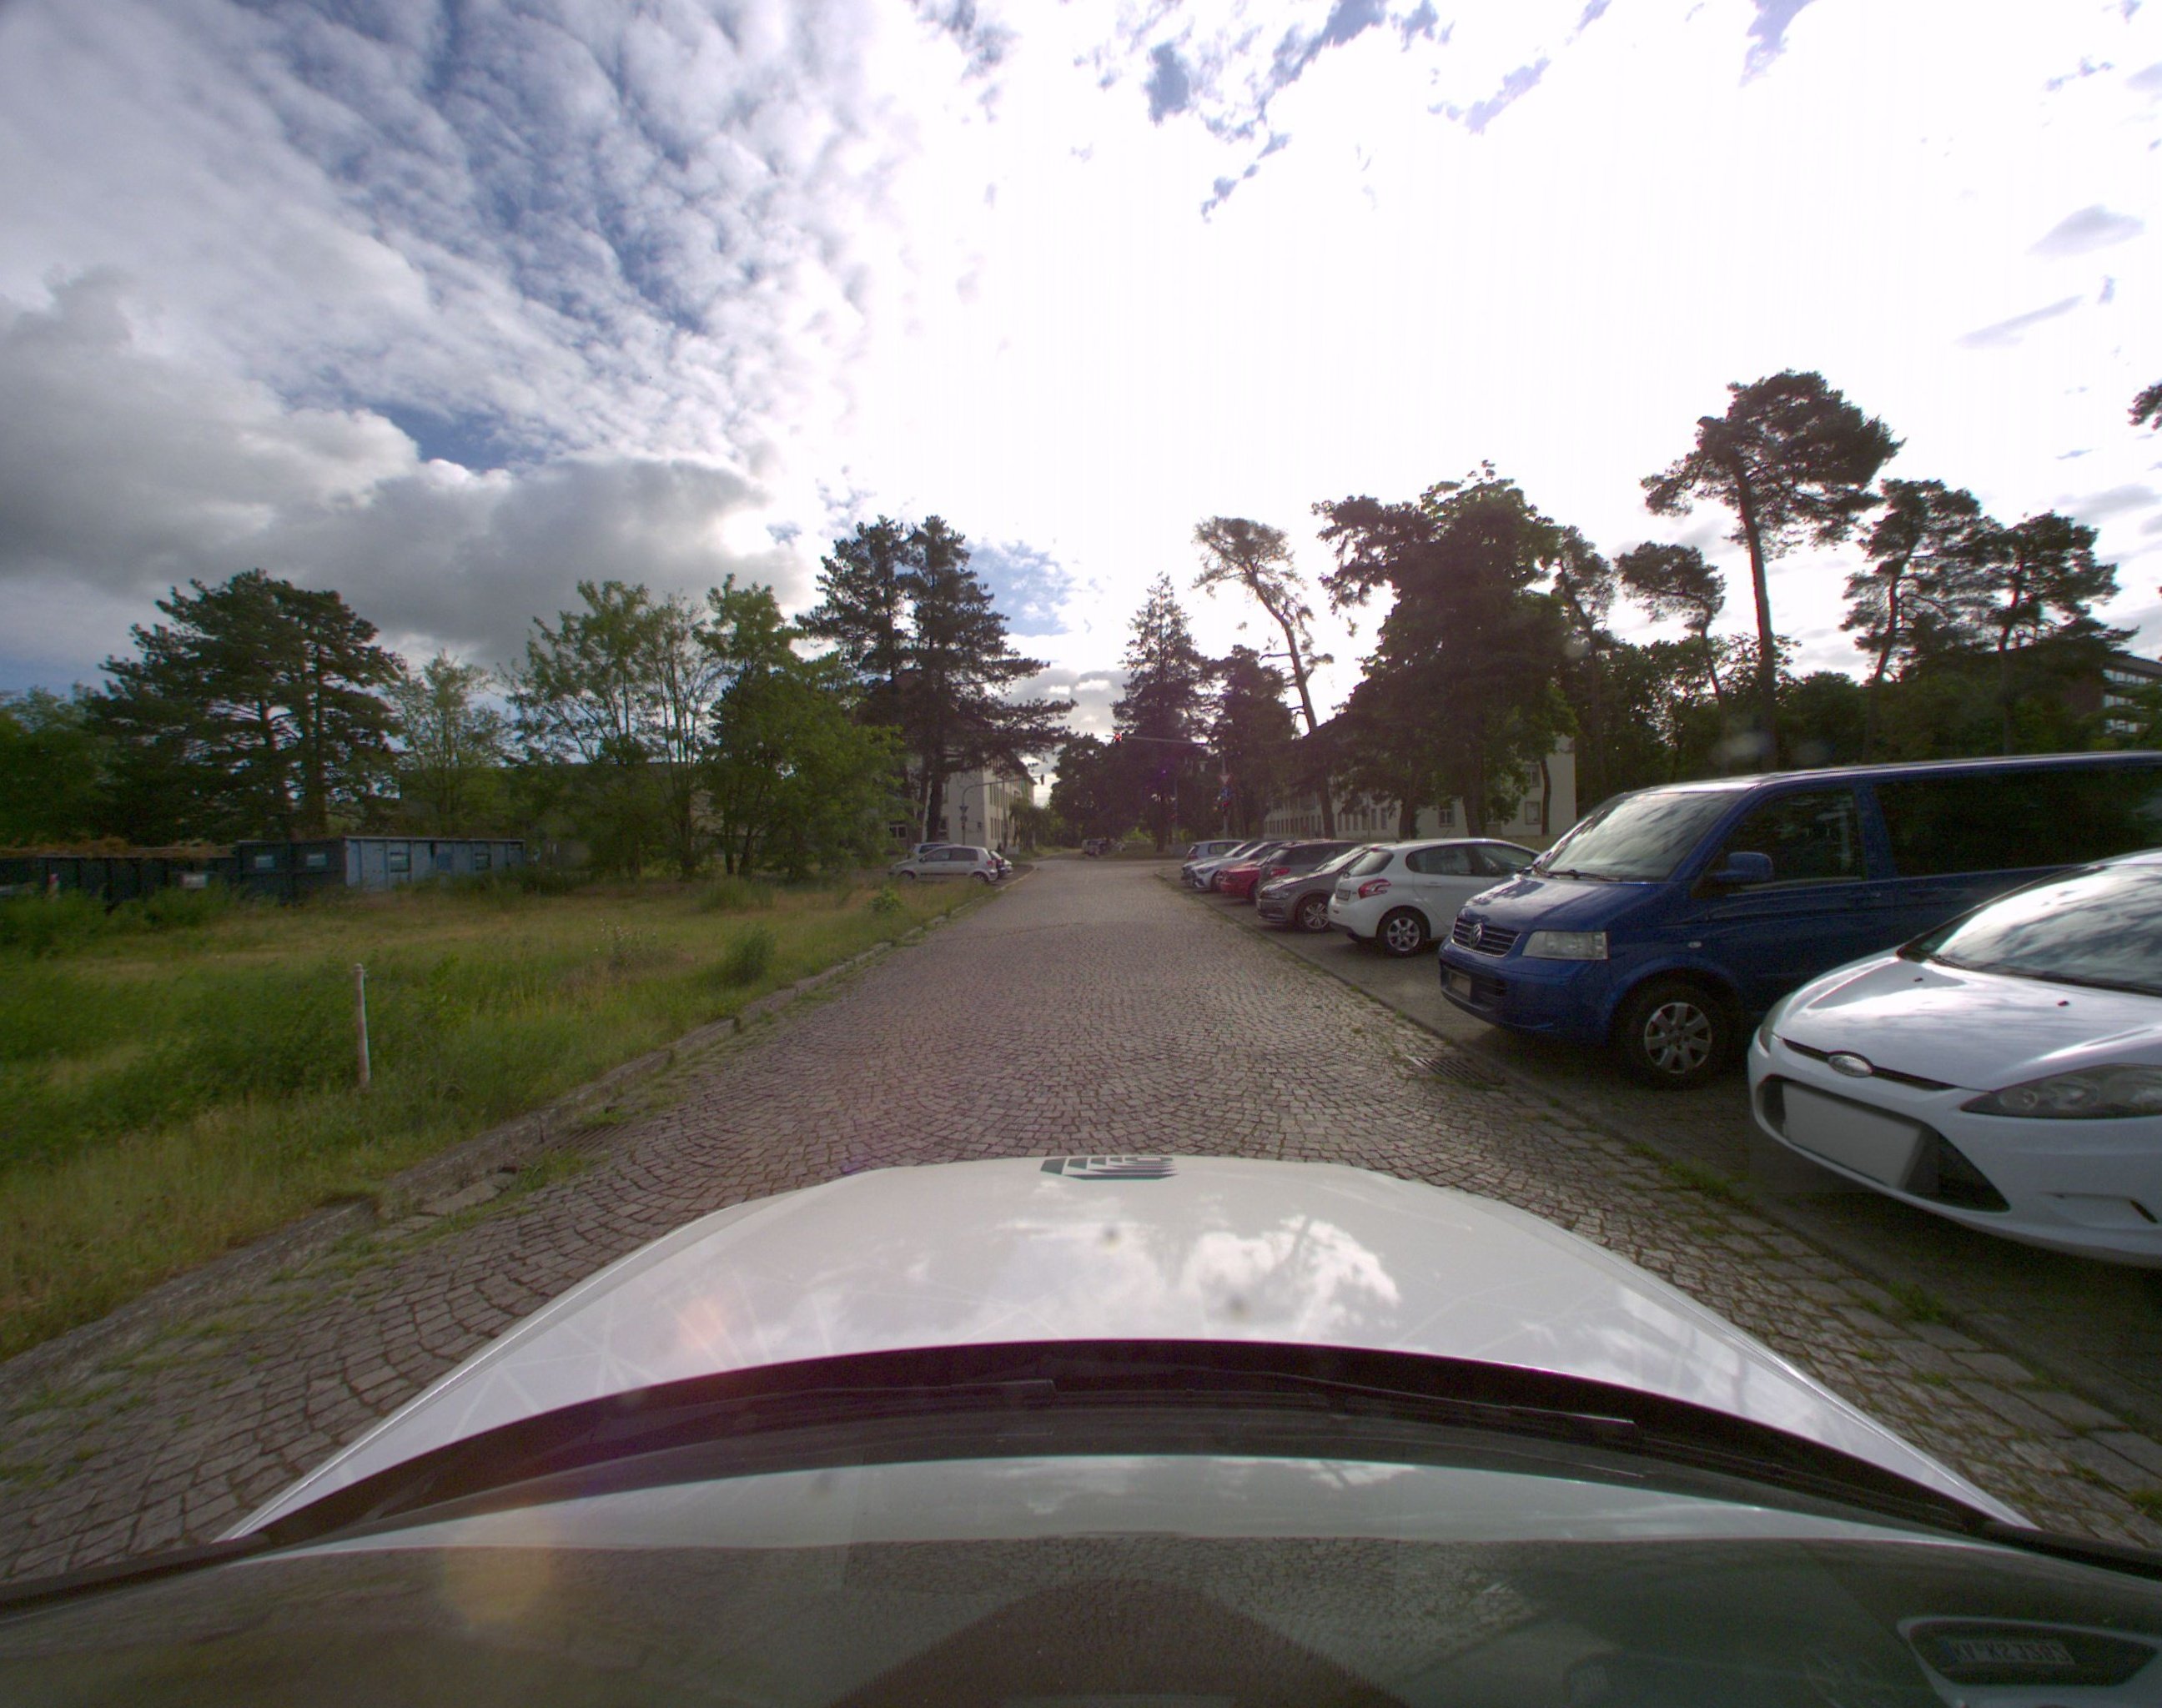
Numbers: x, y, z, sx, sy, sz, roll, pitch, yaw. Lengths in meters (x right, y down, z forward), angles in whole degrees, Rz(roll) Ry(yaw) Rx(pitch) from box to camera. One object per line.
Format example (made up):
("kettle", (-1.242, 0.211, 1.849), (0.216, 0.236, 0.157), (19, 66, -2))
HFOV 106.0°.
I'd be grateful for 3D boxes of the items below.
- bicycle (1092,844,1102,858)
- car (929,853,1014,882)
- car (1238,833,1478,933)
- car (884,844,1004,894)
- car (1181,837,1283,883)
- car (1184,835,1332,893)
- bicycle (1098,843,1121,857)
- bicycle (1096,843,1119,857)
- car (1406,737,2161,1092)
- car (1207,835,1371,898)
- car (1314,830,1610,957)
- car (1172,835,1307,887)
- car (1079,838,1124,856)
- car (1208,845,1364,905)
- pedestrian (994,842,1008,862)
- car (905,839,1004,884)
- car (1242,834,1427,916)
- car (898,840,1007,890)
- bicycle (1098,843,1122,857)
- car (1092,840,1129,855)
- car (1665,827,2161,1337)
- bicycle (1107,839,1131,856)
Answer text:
("bicycle", (1.492, -0.295, 74.855), (0.807, 1.268, 1.974), (-1, 1, 2))
("car", (-4.854, 0.591, 36.546), (3.666, 1.093, 1.643), (-2, 1, -6))
("car", (4.750, 0.450, 14.177), (3.598, 1.506, 1.658), (-2, 1, -10))
("car", (-4.766, 0.502, 28.828), (3.981, 1.552, 1.996), (-2, 1, -6))
("car", (5.478, 0.193, 29.635), (3.384, 1.543, 1.388), (-2, 1, -6))
("car", (5.209, 0.259, 24.254), (3.981, 1.543, 1.661), (-2, 1, -6))
("bicycle", (2.795, -0.416, 79.201), (2.158, 1.268, 0.811), (-1, 1, -6))
("bicycle", (2.574, -0.418, 80.415), (2.158, 1.268, 0.811), (-1, 1, -6))
("car", (5.052, 0.334, 5.797), (4.768, 2.039, 1.738), (-2, 1, -1))
("car", (5.563, 0.308, 22.017), (3.981, 1.543, 1.661), (-1, 1, -6))
("car", (5.092, 0.486, 11.176), (3.283, 1.504, 1.663), (-2, 1, -2))
("car", (5.216, 0.220, 27.065), (4.116, 1.543, 1.661), (-2, 1, -6))
("car", (2.449, -0.862, 96.436), (5.051, 2.013, 1.993), (-1, 1, -10))
("car", (4.917, 0.474, 19.771), (3.287, 1.267, 1.661), (-2, 1, -6))
("pedestrian", (-6.218, -0.140, 63.210), (0.895, 1.498, 0.904), (-1, 1, 1))
("car", (-5.276, 0.286, 34.349), (3.983, 1.749, 1.923), (-1, 1, -7))
("car", (5.258, 0.392, 17.055), (3.293, 1.504, 1.658), (-2, 1, -10))
("car", (-4.863, 0.390, 31.319), (3.981, 1.705, 1.996), (-2, 1, -6))
("bicycle", (2.791, -0.415, 78.614), (2.158, 1.268, 0.811), (-1, 1, -6))
("car", (3.371, -0.727, 93.159), (3.981, 1.644, 1.996), (-1, 1, -6))
("car", (4.834, 0.625, 3.339), (3.713, 1.424, 1.653), (-3, 1, -2))
("bicycle", (3.729, -0.599, 79.910), (2.158, 1.615, 0.811), (-1, 1, -6))
